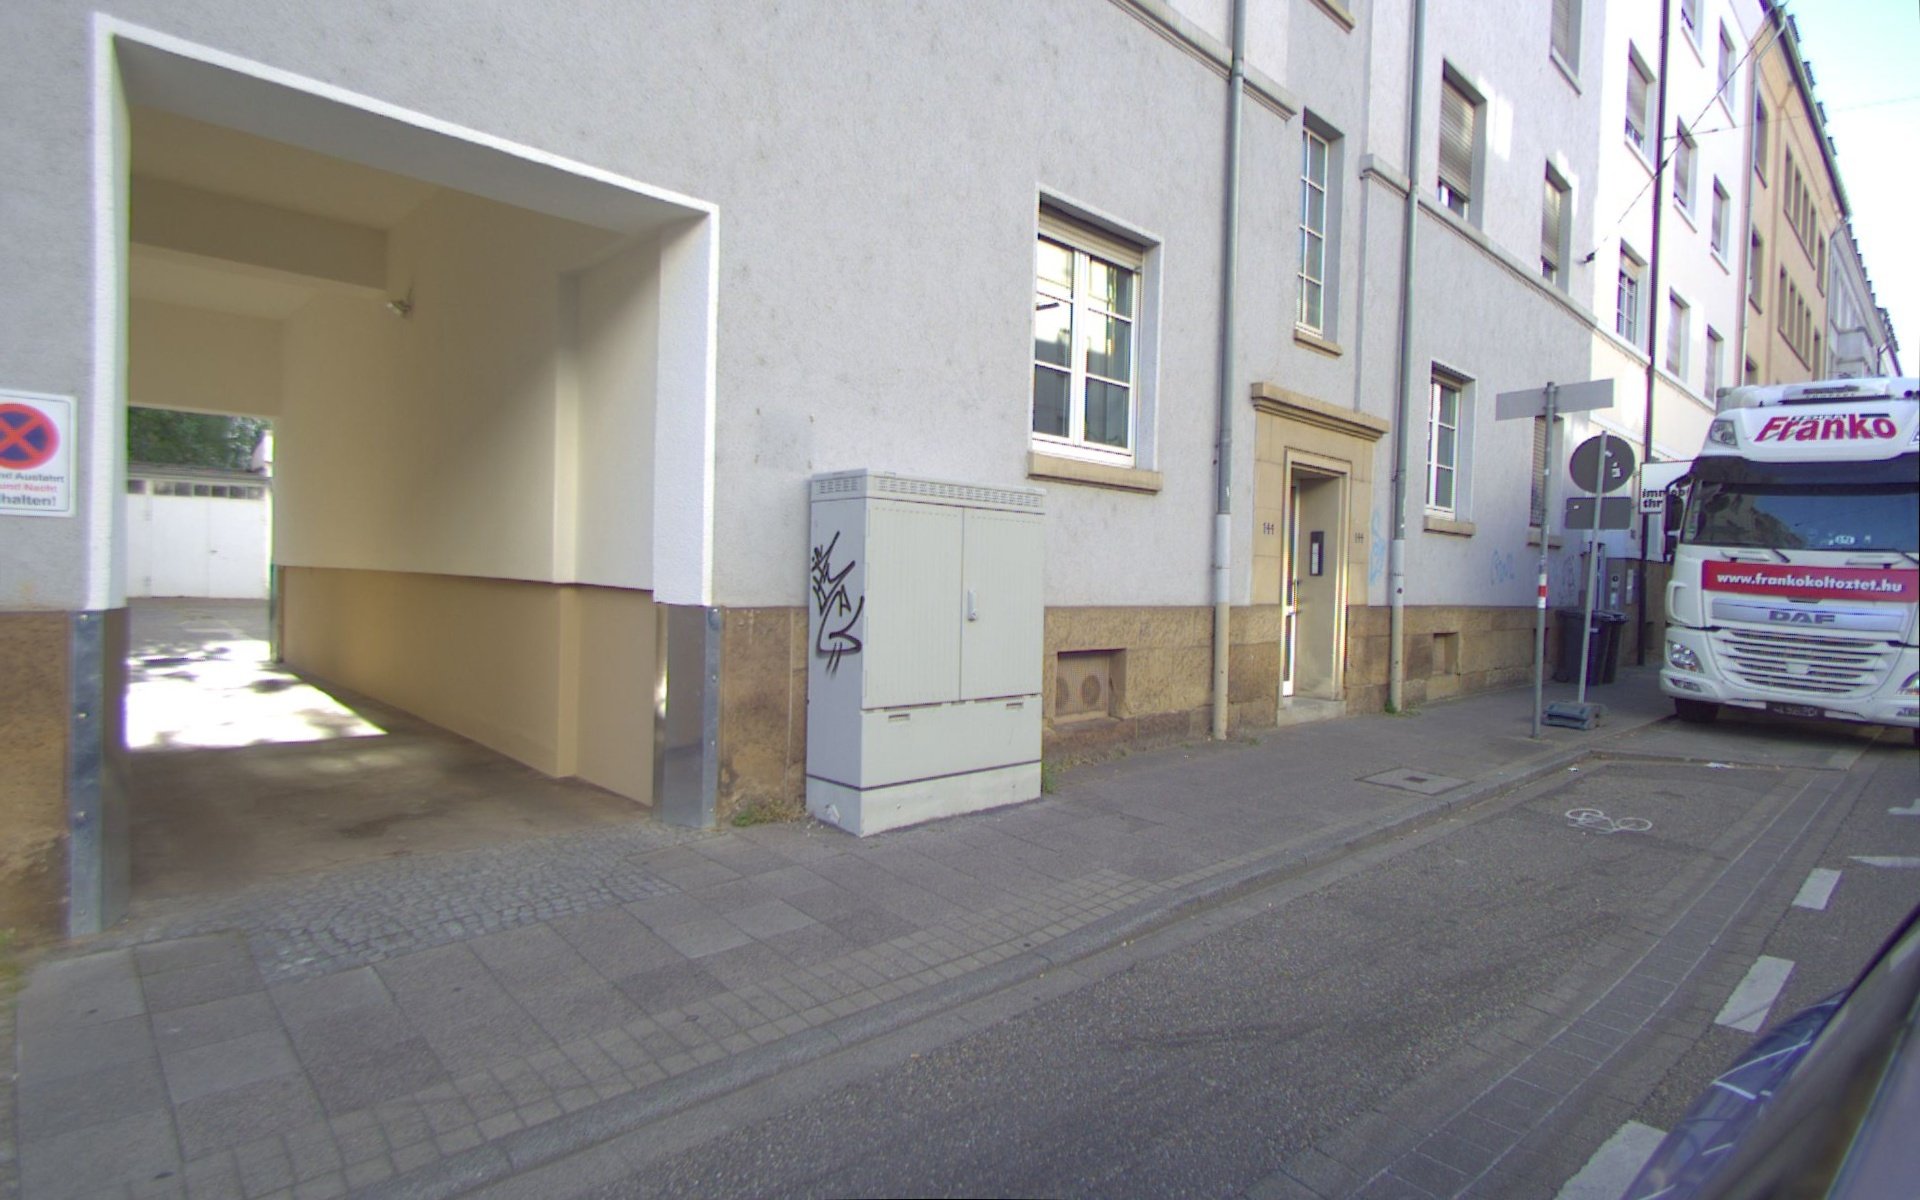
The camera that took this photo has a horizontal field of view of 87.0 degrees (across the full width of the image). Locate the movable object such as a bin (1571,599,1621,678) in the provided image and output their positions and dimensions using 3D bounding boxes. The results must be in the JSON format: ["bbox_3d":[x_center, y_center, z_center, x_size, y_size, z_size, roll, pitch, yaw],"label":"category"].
[{"bbox_3d":[9.157,0.534,14.575,0.511,1.106,0.488,0,0,45],"label":"movable object such as a bin"}]

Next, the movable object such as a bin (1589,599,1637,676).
[{"bbox_3d":[9.628,0.537,14.922,0.511,1.106,0.488,0,0,45],"label":"movable object such as a bin"}]

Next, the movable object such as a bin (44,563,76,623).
[{"bbox_3d":[-14.348,-0.114,16.136,0.366,0.919,0.420,0,3,-44],"label":"movable object such as a bin"}]

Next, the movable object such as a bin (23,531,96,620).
[{"bbox_3d":[-14.920,-0.420,16.767,0.874,1.409,0.758,0,4,-44],"label":"movable object such as a bin"}]

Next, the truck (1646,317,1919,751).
[{"bbox_3d":[12.557,-0.605,13.852,11.511,4.012,2.894,0,0,-44],"label":"truck"}]
